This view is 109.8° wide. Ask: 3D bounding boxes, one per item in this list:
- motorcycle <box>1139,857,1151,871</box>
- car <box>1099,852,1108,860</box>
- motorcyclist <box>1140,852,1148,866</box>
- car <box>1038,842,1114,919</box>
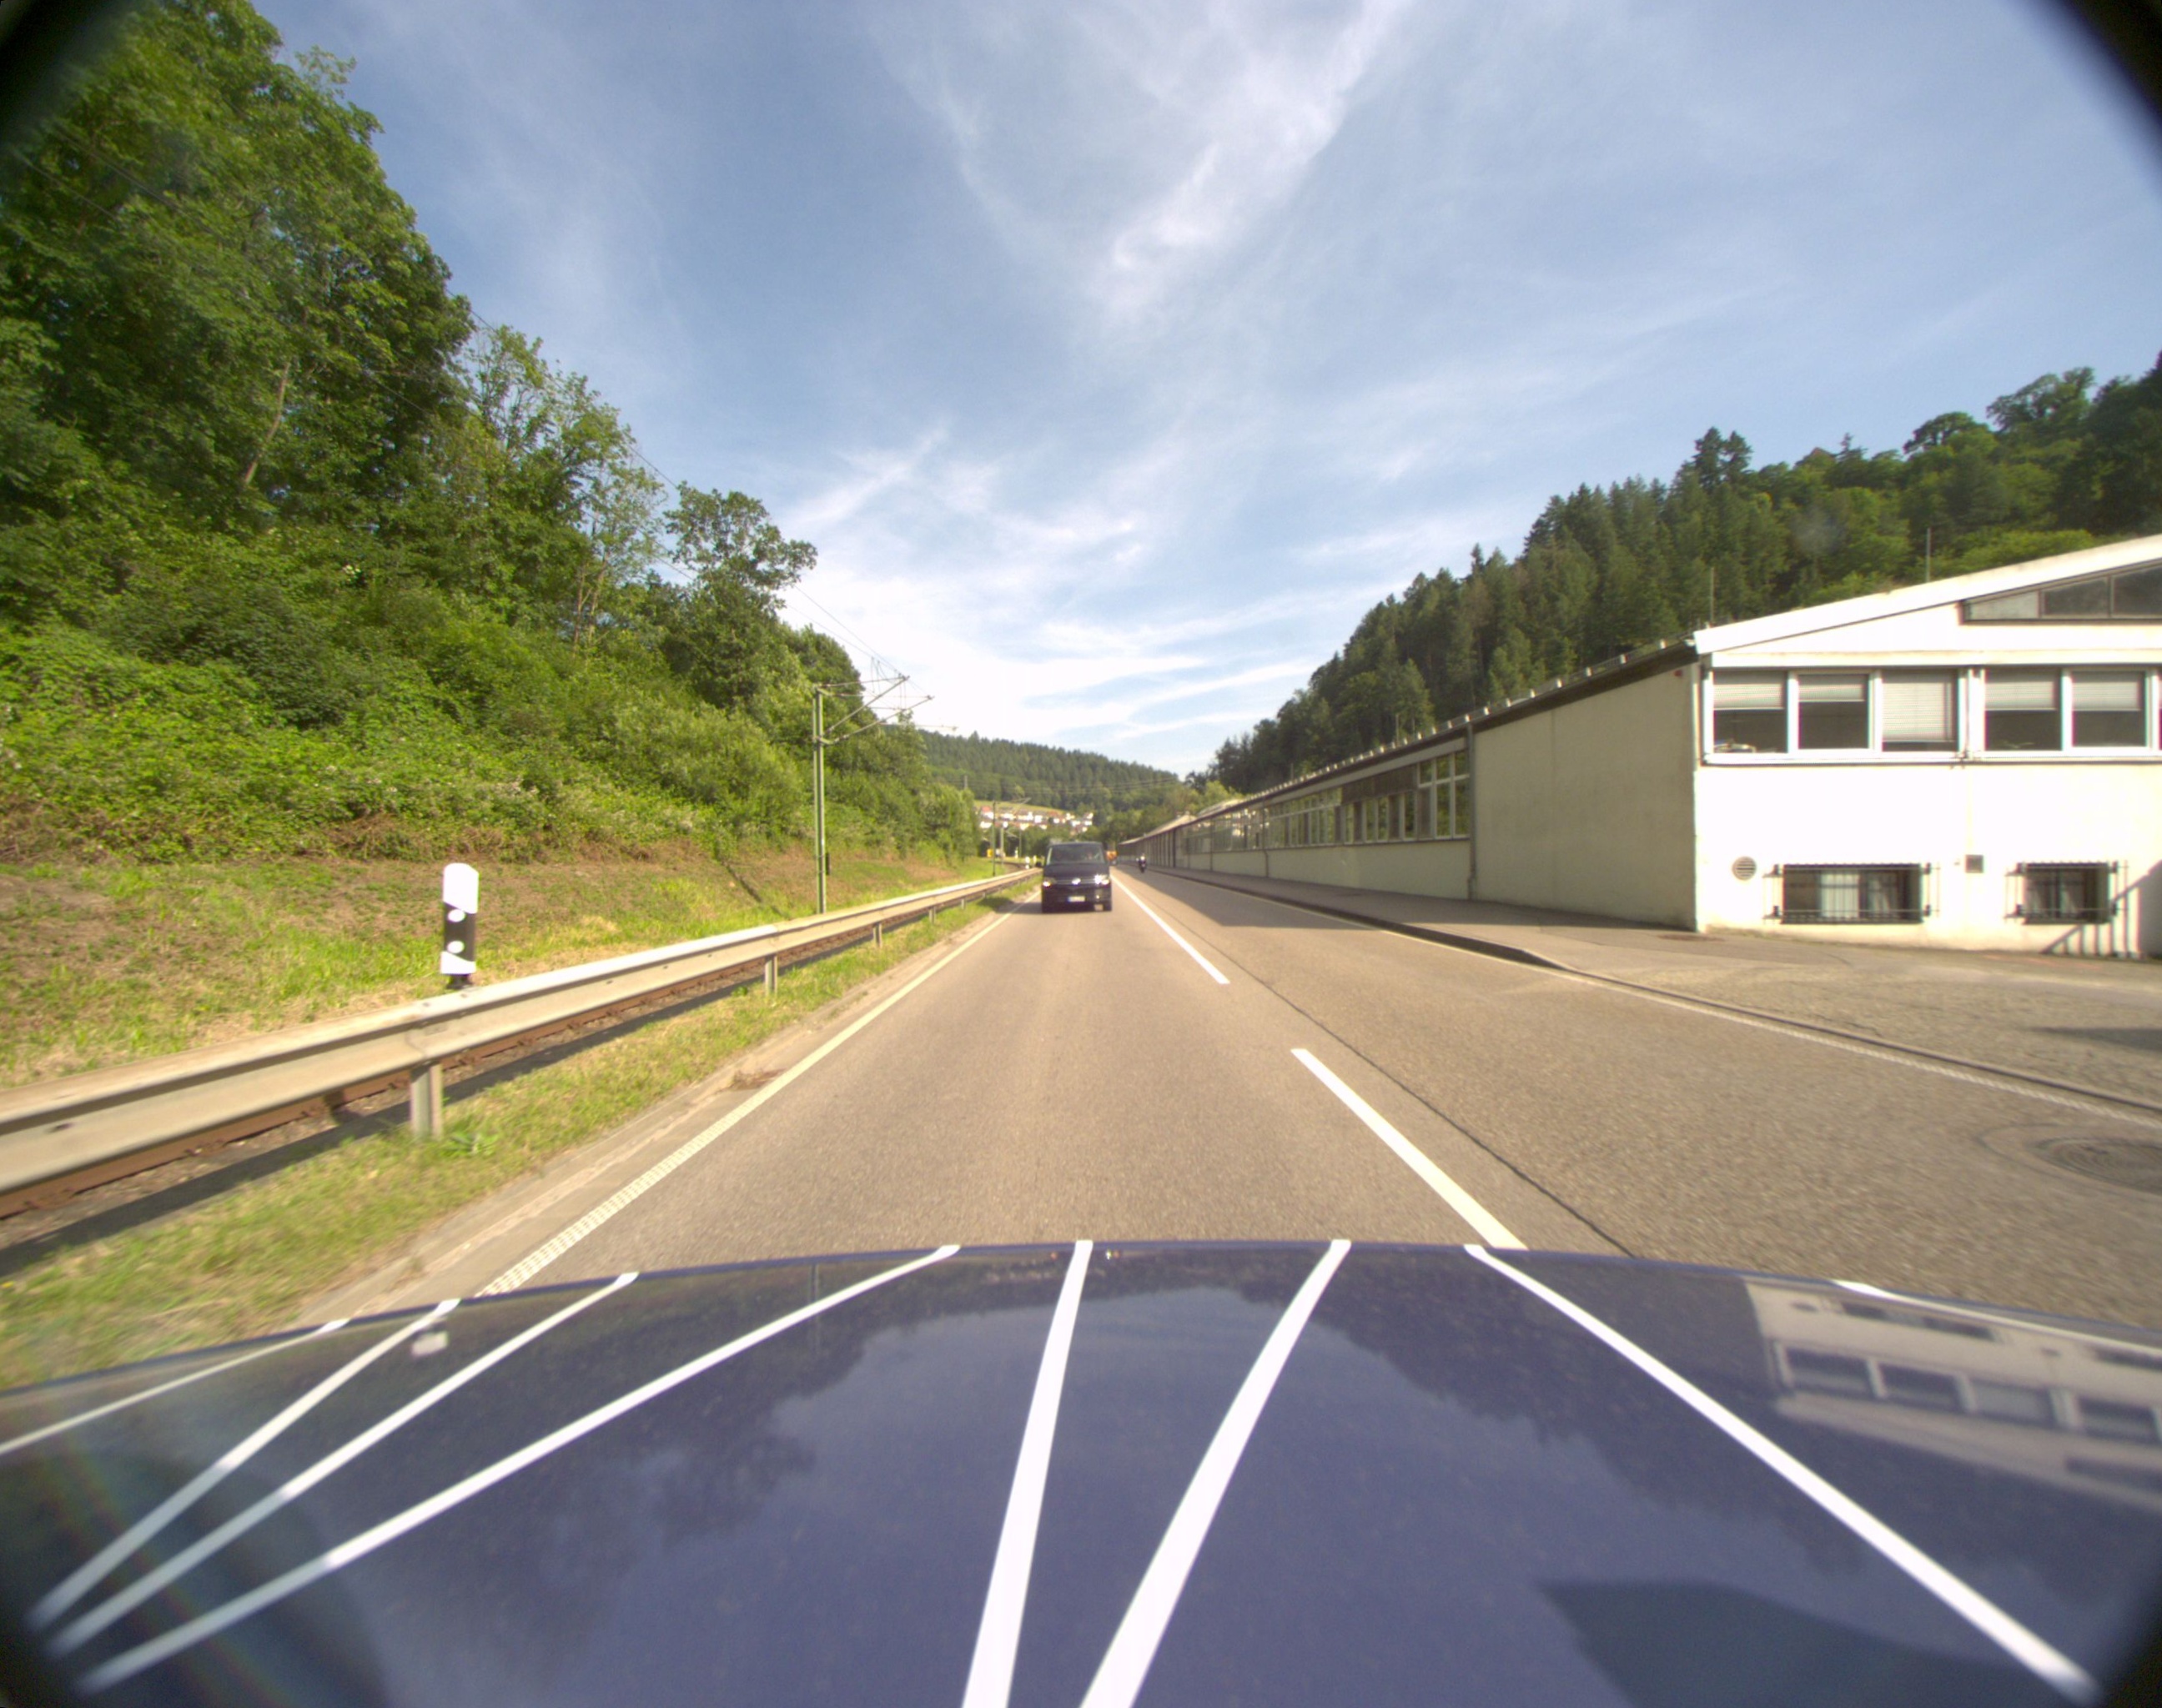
[{"bbox_3d":[5.160,0.832,61.616,0.743,1.062,2.492,-1,0,1],"label":"motorcycle"},{"bbox_3d":[4.434,0.374,150.352,1.778,1.482,4.051,-3,0,0],"label":"car"},{"bbox_3d":[5.165,0.405,62.025,0.587,1.118,0.636,-1,1,0],"label":"motorcyclist"},{"bbox_3d":[-0.229,0.666,22.099,1.901,1.927,5.187,-2,0,-2],"label":"car"}]
